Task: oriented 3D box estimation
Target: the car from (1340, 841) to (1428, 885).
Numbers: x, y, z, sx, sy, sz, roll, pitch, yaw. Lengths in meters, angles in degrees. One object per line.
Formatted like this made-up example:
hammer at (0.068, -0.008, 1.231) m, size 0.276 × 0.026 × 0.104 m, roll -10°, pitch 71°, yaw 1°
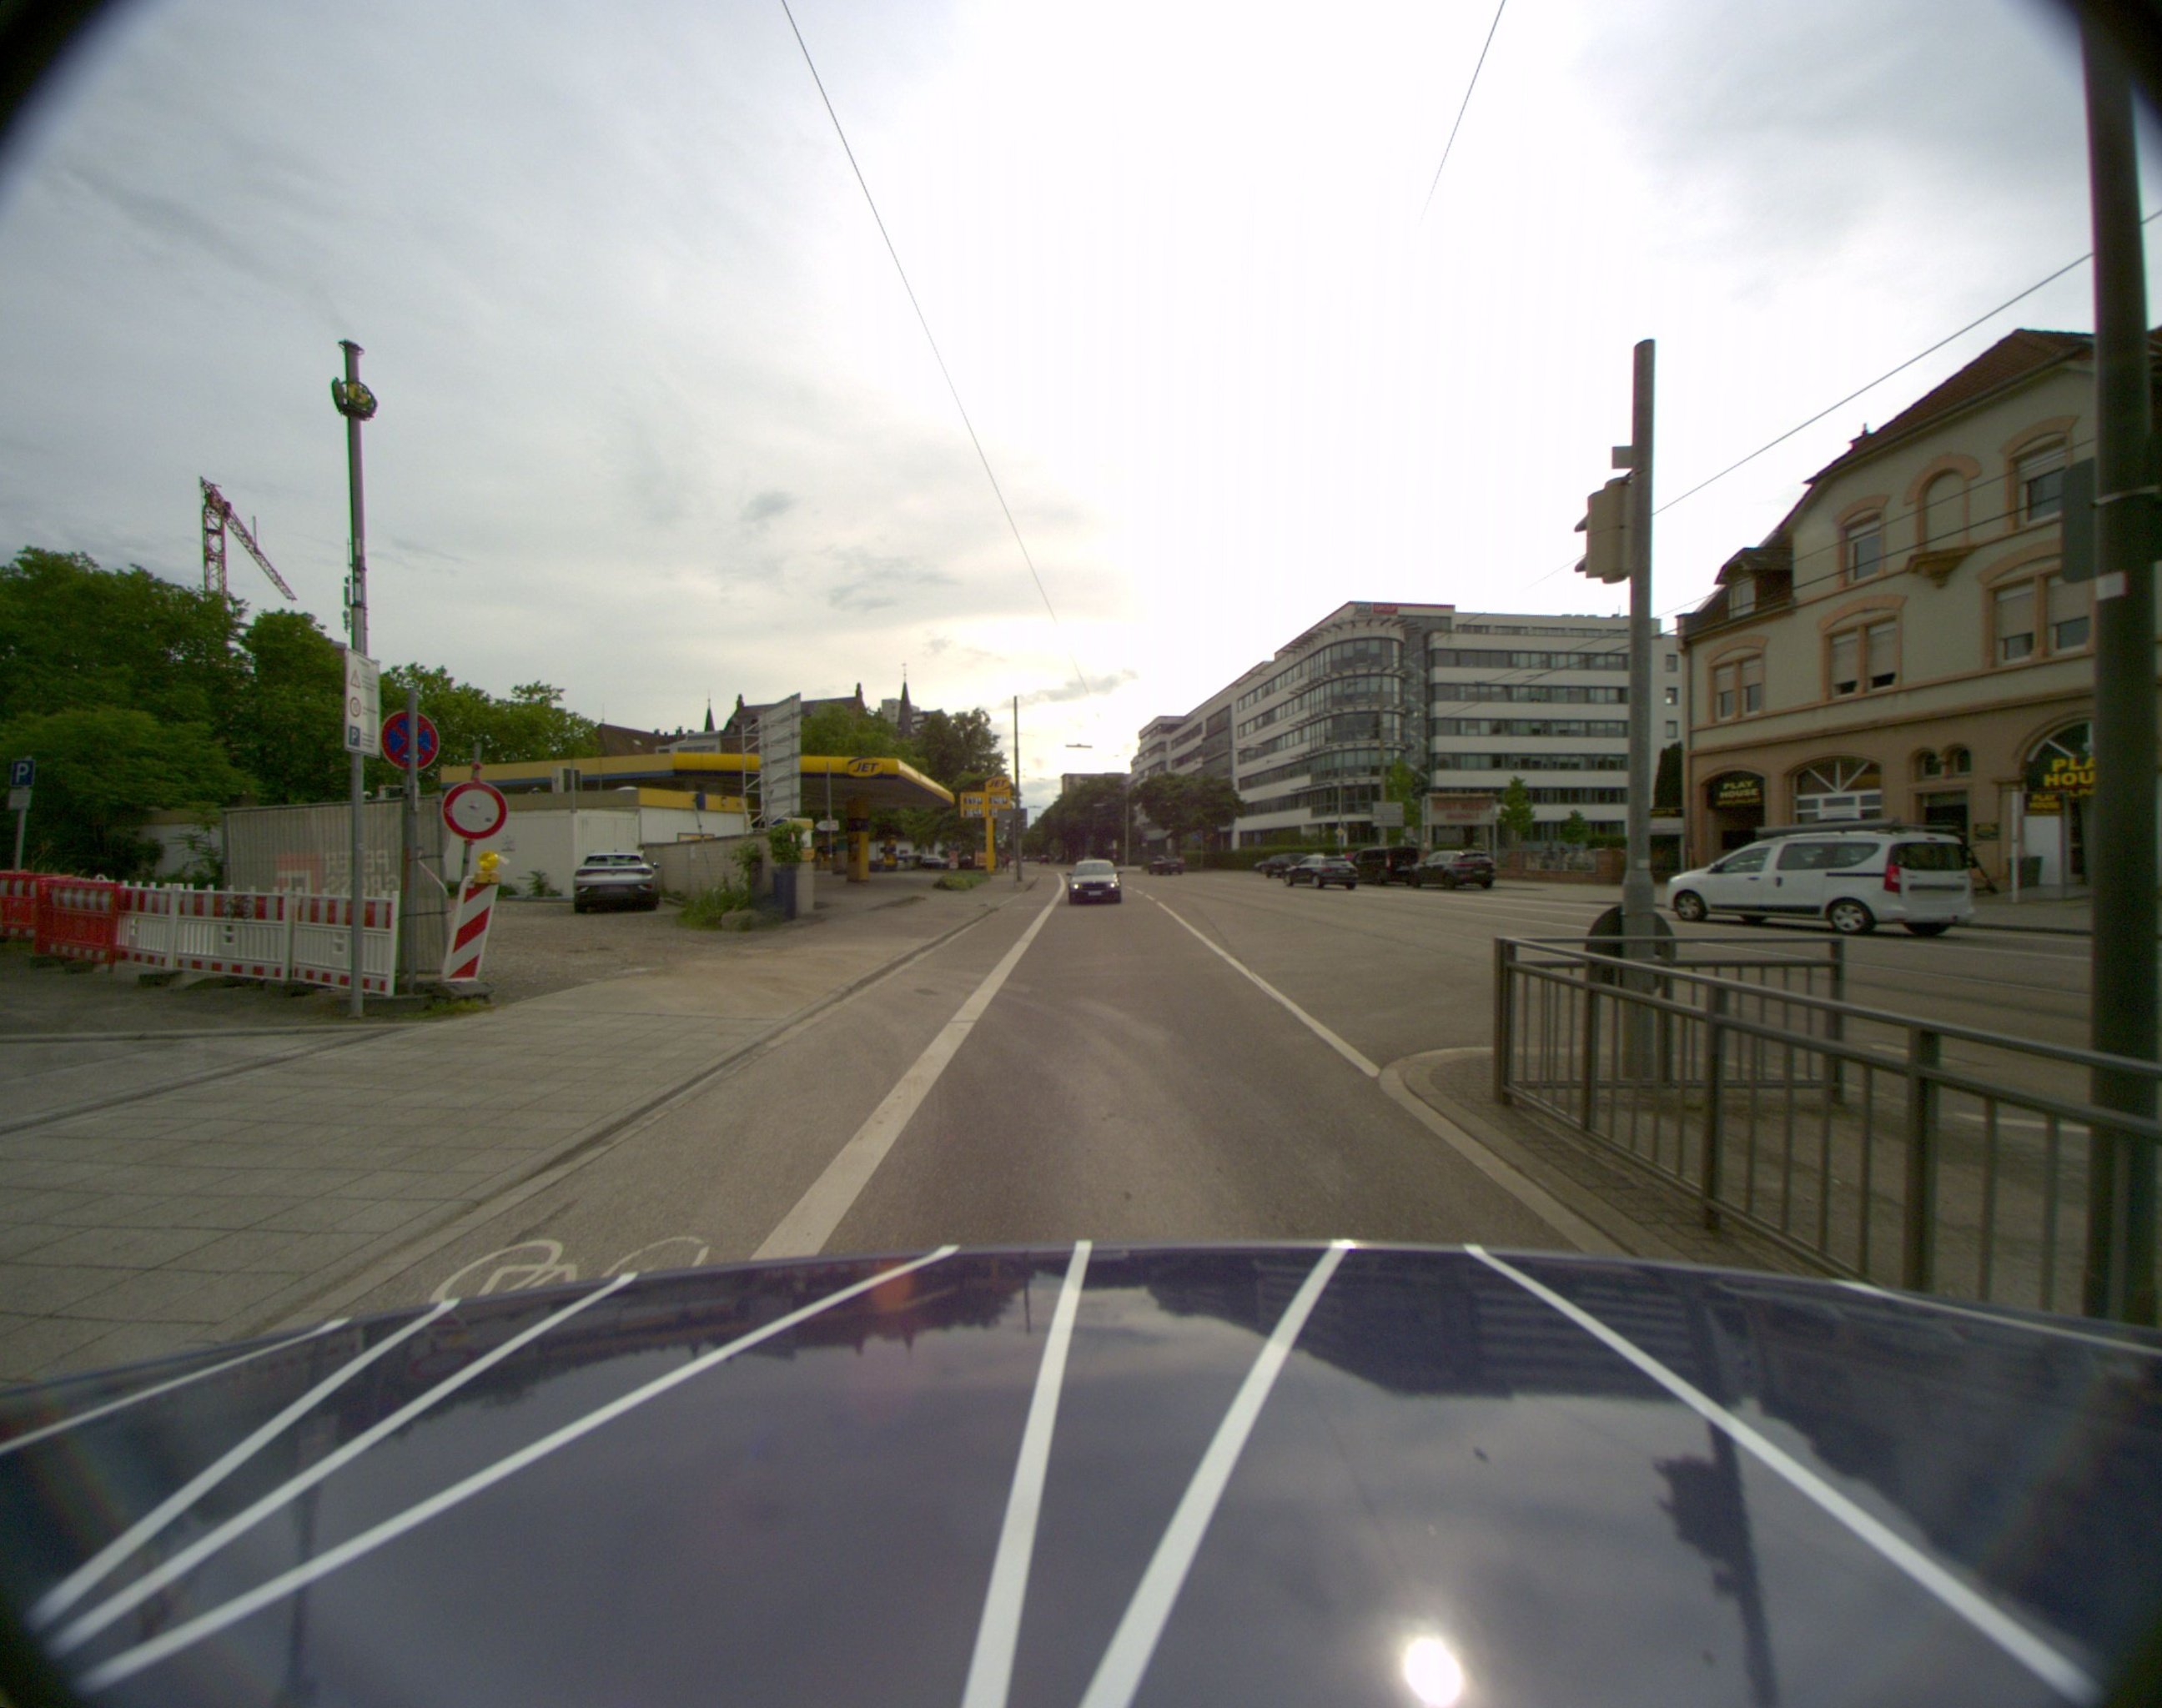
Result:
car at (15.304, 0.396, 38.741) m, size 1.992 × 2.002 × 5.182 m, roll -3°, pitch 1°, yaw -5°

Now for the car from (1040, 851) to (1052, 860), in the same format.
car at (-7.268, 0.330, 158.266) m, size 1.848 × 1.714 × 4.403 m, roll -1°, pitch 1°, yaw -10°

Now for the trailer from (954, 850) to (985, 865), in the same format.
trailer at (-12.028, 0.350, 82.169) m, size 3.292 × 1.523 × 1.772 m, roll 1°, pitch 3°, yaw -6°

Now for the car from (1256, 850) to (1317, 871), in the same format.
car at (14.891, 0.465, 55.022) m, size 3.977 × 1.443 × 1.819 m, roll 0°, pitch 1°, yaw 24°

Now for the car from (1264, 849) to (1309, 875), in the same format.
car at (12.998, 0.467, 47.922) m, size 1.791 × 1.521 × 4.149 m, roll 1°, pitch 1°, yaw 29°

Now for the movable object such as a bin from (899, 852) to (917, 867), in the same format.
movable object such as a bin at (-16.332, 0.483, 71.840) m, size 1.118 × 1.351 × 1.162 m, roll -1°, pitch 1°, yaw 28°

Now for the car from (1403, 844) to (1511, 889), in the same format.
car at (16.157, 0.509, 32.958) m, size 2.043 × 1.739 × 4.532 m, roll -3°, pitch 0°, yaw -6°

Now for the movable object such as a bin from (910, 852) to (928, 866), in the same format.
movable object such as a bin at (-15.196, 0.483, 71.325) m, size 1.118 × 1.312 × 1.162 m, roll -1°, pitch 1°, yaw 28°

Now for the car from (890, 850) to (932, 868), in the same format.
car at (-17.749, 0.501, 79.440) m, size 3.999 × 1.657 × 1.999 m, roll -2°, pitch 1°, yaw -6°

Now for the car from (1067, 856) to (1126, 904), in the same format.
car at (0.523, 0.814, 25.643) m, size 1.786 × 1.361 × 4.113 m, roll -2°, pitch 1°, yaw 1°

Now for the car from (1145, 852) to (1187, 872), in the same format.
car at (6.417, 0.561, 57.784) m, size 1.911 × 1.464 × 4.815 m, roll 0°, pitch 0°, yaw -10°

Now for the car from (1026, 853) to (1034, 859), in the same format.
car at (-15.316, 0.574, 227.651) m, size 1.802 × 1.537 × 4.476 m, roll -2°, pitch 1°, yaw -9°

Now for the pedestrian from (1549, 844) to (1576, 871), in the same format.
pedestrian at (35.670, 0.272, 56.292) m, size 1.217 × 2.002 × 1.186 m, roll 0°, pitch 1°, yaw -19°

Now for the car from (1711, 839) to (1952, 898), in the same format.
car at (21.538, 0.341, 22.184) m, size 1.999 × 1.484 × 4.900 m, roll -1°, pitch 1°, yaw -4°

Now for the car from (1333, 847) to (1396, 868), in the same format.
car at (21.043, 0.247, 56.418) m, size 4.019 × 1.413 × 1.725 m, roll -1°, pitch -1°, yaw -6°

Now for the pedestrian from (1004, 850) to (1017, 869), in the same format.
pedestrian at (-6.634, 0.504, 71.886) m, size 0.871 × 1.738 × 0.848 m, roll 1°, pitch 1°, yaw -32°

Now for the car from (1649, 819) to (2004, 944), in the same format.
car at (13.568, 0.413, 14.324) m, size 1.890 × 1.977 × 4.521 m, roll 0°, pitch 1°, yaw -9°

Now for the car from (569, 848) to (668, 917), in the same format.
car at (-12.292, 0.669, 20.445) m, size 2.003 × 1.628 × 3.940 m, roll 0°, pitch 1°, yaw -28°

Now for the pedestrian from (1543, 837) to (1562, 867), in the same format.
pedestrian at (28.538, -0.118, 45.961) m, size 0.636 × 1.764 × 0.761 m, roll -2°, pitch 1°, yaw -1°

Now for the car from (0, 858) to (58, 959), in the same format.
car at (-16.080, 0.782, 9.120) m, size 1.767 × 1.410 × 4.346 m, roll 0°, pitch 1°, yaw -2°

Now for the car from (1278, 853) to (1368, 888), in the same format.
car at (10.566, 0.666, 33.568) m, size 1.888 × 1.420 × 4.419 m, roll 0°, pitch 0°, yaw -11°

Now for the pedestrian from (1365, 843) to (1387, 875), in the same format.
pedestrian at (17.348, 0.283, 44.686) m, size 0.806 × 1.814 × 1.059 m, roll -2°, pitch 1°, yaw -3°
